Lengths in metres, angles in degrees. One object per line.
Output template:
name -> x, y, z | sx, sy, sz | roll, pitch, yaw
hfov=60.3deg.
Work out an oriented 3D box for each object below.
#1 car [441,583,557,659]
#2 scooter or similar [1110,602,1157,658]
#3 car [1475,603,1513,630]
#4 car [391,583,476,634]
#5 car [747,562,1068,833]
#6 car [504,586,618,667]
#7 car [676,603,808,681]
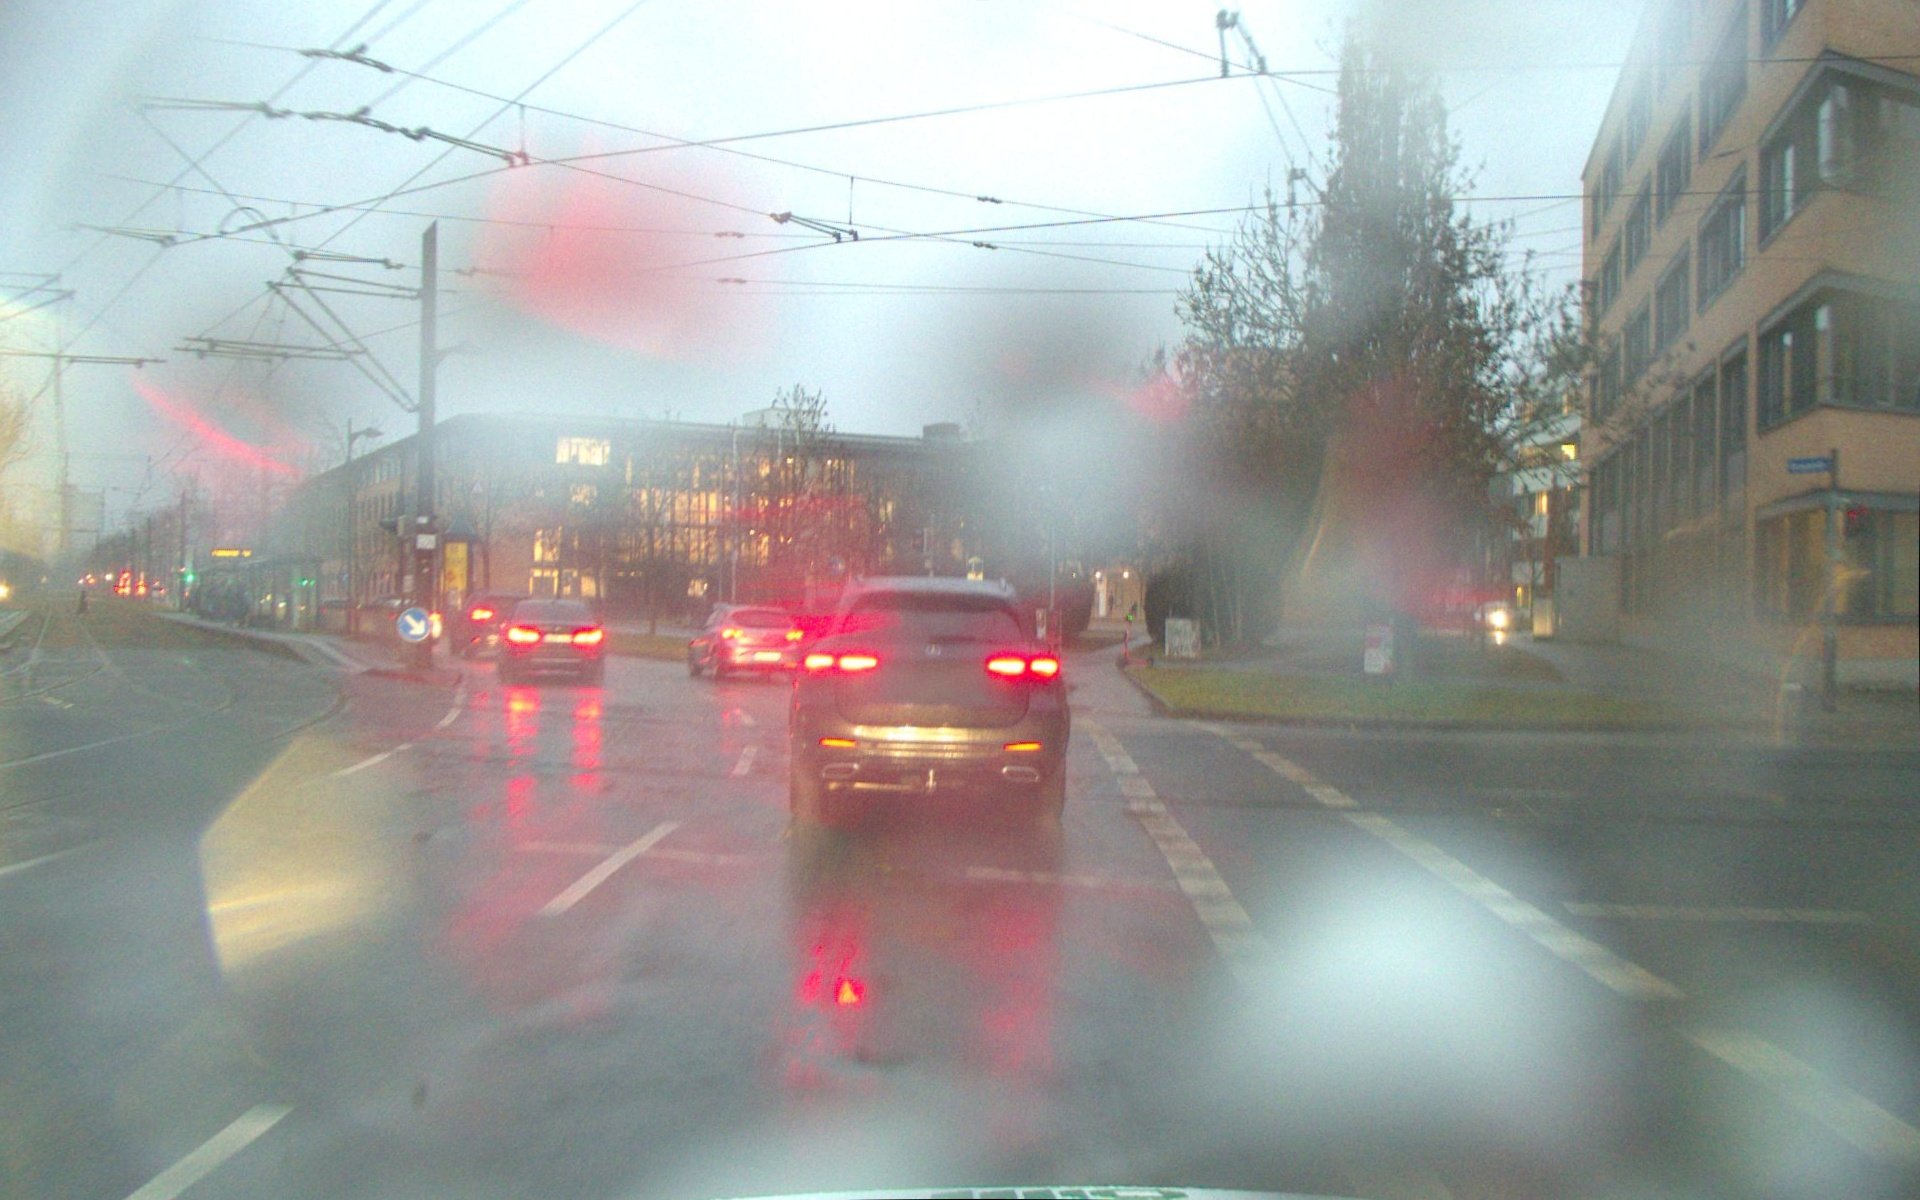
car -> -11.595, 0.487, 41.473 | 1.972, 1.796, 3.962 | 0, 1, -29
scooter or similar -> 4.023, 0.690, 38.293 | 0.479, 1.253, 1.137 | 1, 1, 44
car -> 25.791, 0.794, 79.935 | 1.632, 1.201, 3.710 | 0, 1, 16
car -> -18.070, 0.259, 56.649 | 1.973, 1.646, 3.959 | 0, 1, -31
car -> -0.373, 0.568, 12.059 | 1.950, 1.644, 3.999 | 0, 1, -2
car -> -7.559, 0.447, 31.166 | 1.961, 1.422, 3.984 | 0, 1, -15
car -> -4.473, 0.795, 33.493 | 1.963, 1.432, 3.979 | 0, 1, -18
